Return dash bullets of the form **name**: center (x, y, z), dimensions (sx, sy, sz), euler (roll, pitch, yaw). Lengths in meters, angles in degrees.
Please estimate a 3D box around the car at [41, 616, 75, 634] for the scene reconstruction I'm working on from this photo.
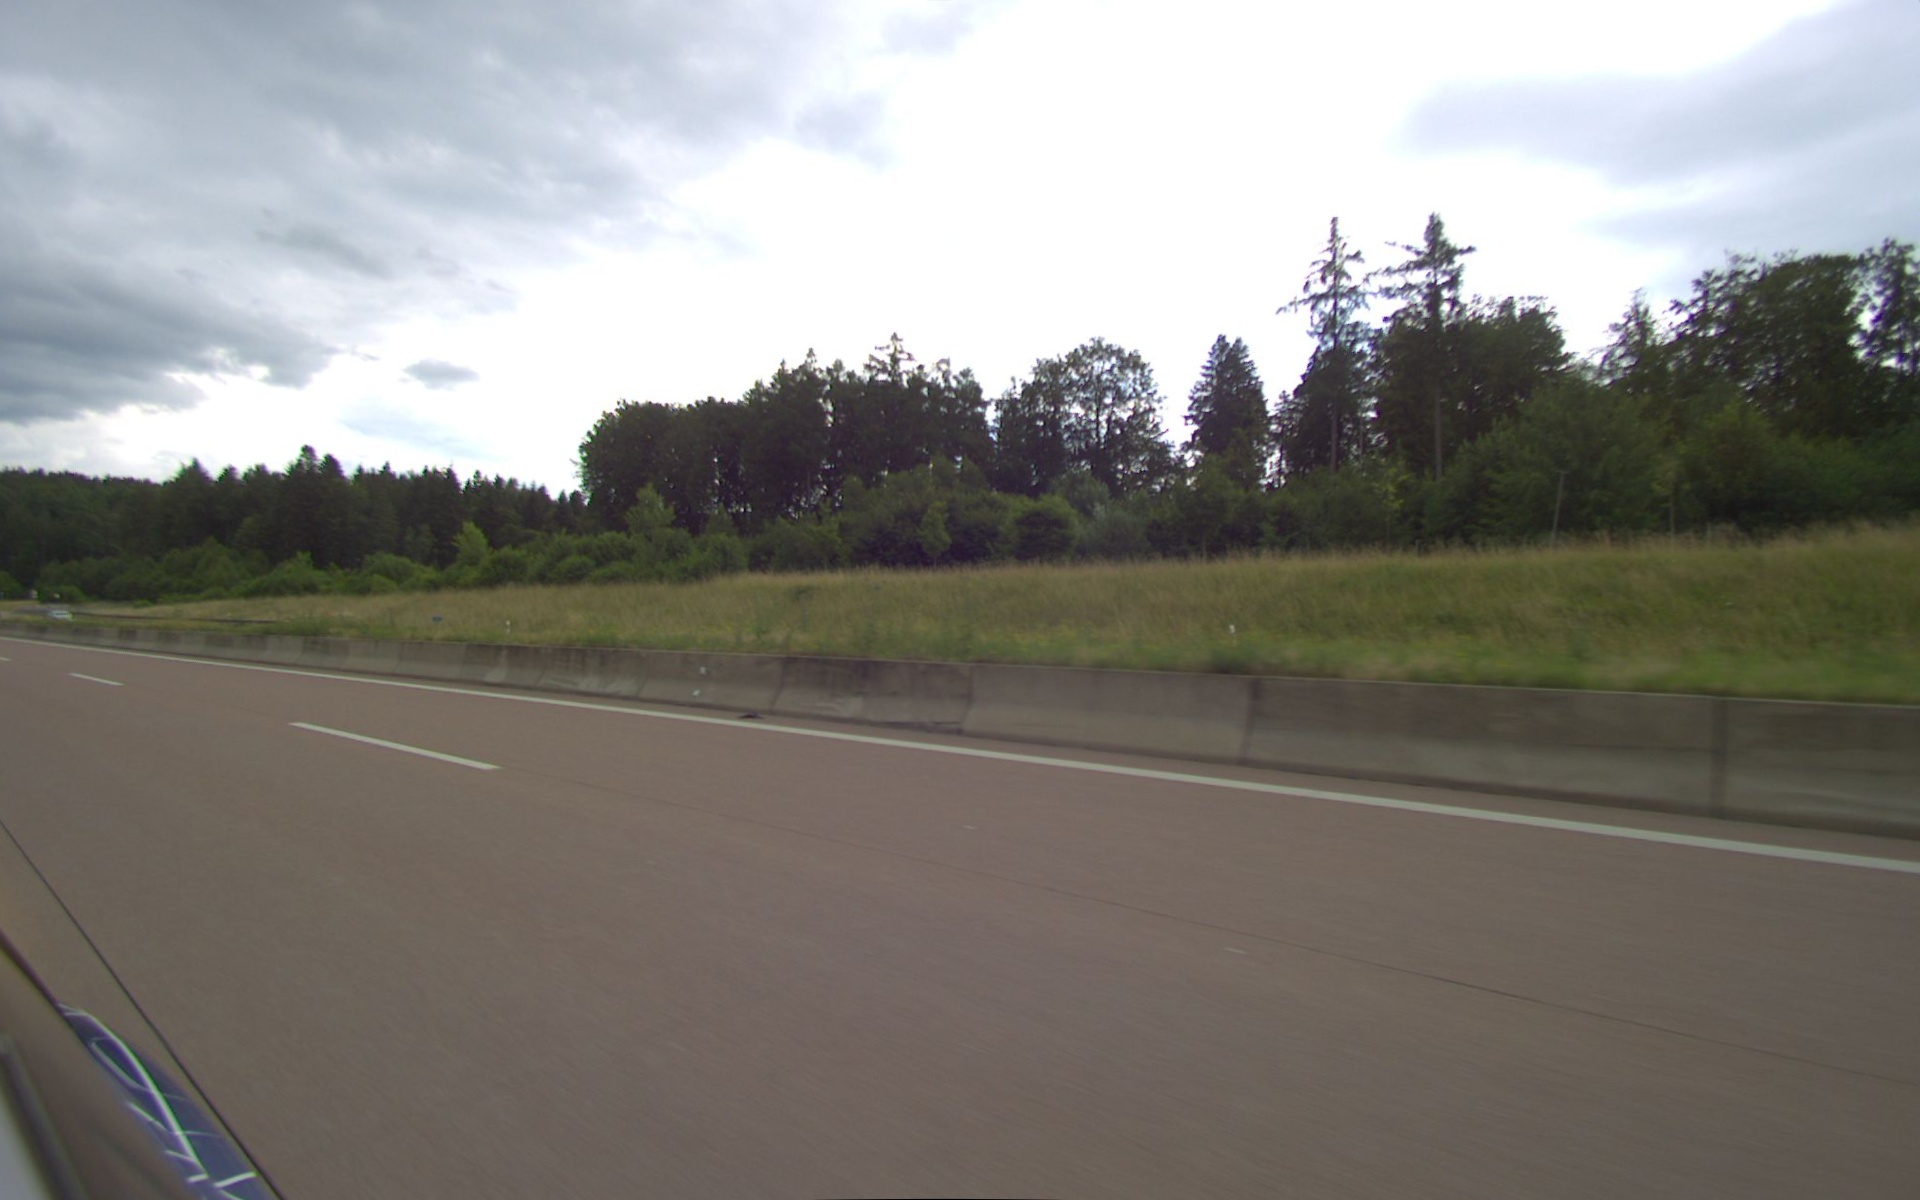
- **car**: center (-85.464, 2.368, 95.890), dimensions (4.820, 1.536, 1.654), euler (1, 1, 38)
